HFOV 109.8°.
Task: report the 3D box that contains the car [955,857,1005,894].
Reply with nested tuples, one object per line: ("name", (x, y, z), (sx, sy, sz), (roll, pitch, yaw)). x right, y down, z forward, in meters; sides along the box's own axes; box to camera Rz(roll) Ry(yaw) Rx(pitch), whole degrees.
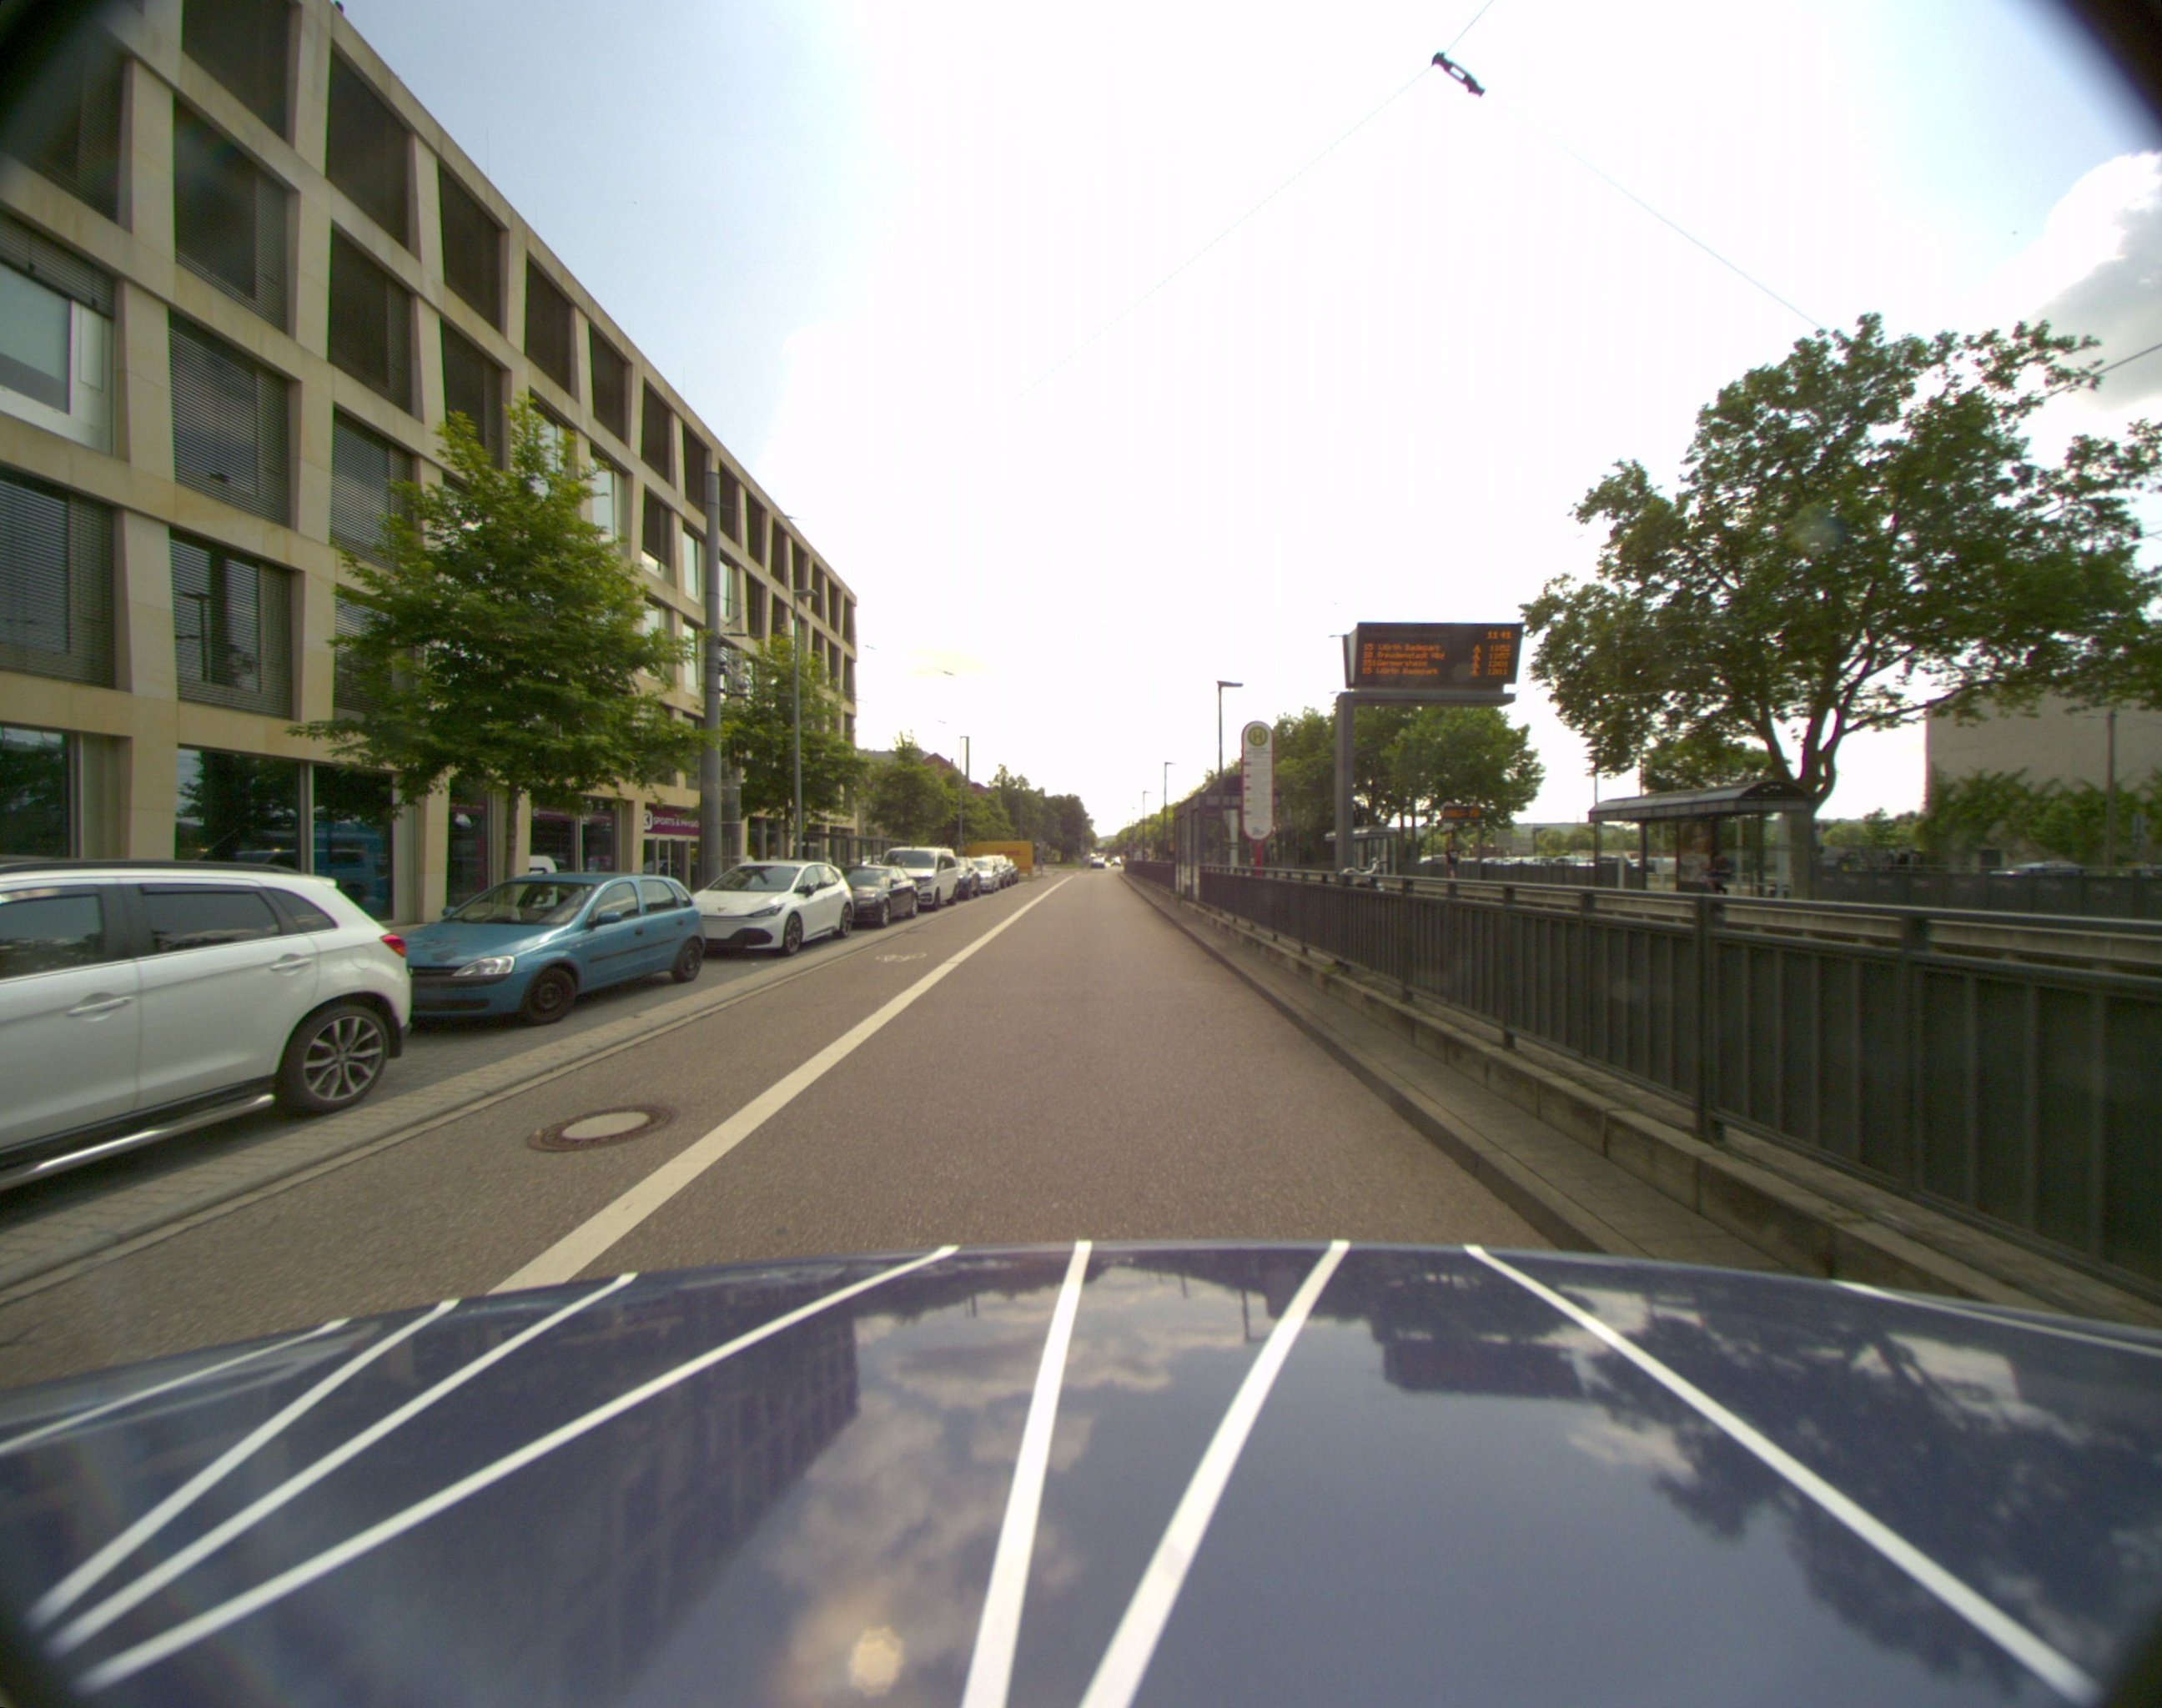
("car", (-4.630, 0.946, 35.242), (1.725, 1.610, 3.860), (0, 0, 1))

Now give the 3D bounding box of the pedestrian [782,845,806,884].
("pedestrian", (-11.568, 0.431, 30.638), (0.639, 1.542, 0.905), (0, 0, 1))

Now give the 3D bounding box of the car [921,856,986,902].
("car", (-4.980, 0.931, 30.309), (1.725, 1.631, 4.527), (1, 0, 1))

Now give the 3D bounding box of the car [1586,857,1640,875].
("car", (44.936, 0.963, 64.281), (1.802, 1.467, 4.000), (1, 0, 1))

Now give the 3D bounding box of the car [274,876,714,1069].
("car", (-5.855, 1.048, 8.311), (1.689, 1.449, 3.950), (1, 0, 1))

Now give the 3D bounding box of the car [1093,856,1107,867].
("car", (2.755, 1.049, 110.711), (1.784, 1.531, 4.420), (1, 0, -1))

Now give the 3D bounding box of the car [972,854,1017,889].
("car", (-4.558, 0.857, 40.649), (1.773, 1.757, 4.840), (0, 0, 1))

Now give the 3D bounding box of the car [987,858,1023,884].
("car", (-4.600, 0.976, 46.356), (1.695, 1.496, 4.068), (0, 0, 1))

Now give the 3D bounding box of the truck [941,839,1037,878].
("truck", (-6.691, 0.316, 55.970), (6.824, 2.851, 2.454), (0, 1, -1))

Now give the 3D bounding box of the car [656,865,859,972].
("car", (-5.540, 1.013, 13.675), (1.797, 1.521, 4.158), (1, 0, 1))

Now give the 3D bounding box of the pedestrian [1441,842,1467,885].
("pedestrian", (16.072, 0.414, 32.746), (0.708, 1.834, 0.864), (0, 1, 0))

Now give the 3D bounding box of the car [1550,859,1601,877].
("car", (42.083, 1.189, 64.771), (1.802, 1.467, 4.000), (1, 0, 1))

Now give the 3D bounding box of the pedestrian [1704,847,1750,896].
("pedestrian", (17.046, 0.455, 20.065), (0.554, 1.262, 0.768), (0, 0, 3))

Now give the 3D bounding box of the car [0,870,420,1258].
("car", (-5.512, 0.936, 3.246), (1.689, 1.596, 4.152), (1, 0, 1))

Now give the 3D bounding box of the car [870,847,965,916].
("car", (-5.103, 0.790, 24.374), (1.886, 1.928, 4.843), (1, 0, 1))

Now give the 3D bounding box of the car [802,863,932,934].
("car", (-5.193, 1.024, 19.120), (1.886, 1.478, 4.563), (1, 0, 1))
